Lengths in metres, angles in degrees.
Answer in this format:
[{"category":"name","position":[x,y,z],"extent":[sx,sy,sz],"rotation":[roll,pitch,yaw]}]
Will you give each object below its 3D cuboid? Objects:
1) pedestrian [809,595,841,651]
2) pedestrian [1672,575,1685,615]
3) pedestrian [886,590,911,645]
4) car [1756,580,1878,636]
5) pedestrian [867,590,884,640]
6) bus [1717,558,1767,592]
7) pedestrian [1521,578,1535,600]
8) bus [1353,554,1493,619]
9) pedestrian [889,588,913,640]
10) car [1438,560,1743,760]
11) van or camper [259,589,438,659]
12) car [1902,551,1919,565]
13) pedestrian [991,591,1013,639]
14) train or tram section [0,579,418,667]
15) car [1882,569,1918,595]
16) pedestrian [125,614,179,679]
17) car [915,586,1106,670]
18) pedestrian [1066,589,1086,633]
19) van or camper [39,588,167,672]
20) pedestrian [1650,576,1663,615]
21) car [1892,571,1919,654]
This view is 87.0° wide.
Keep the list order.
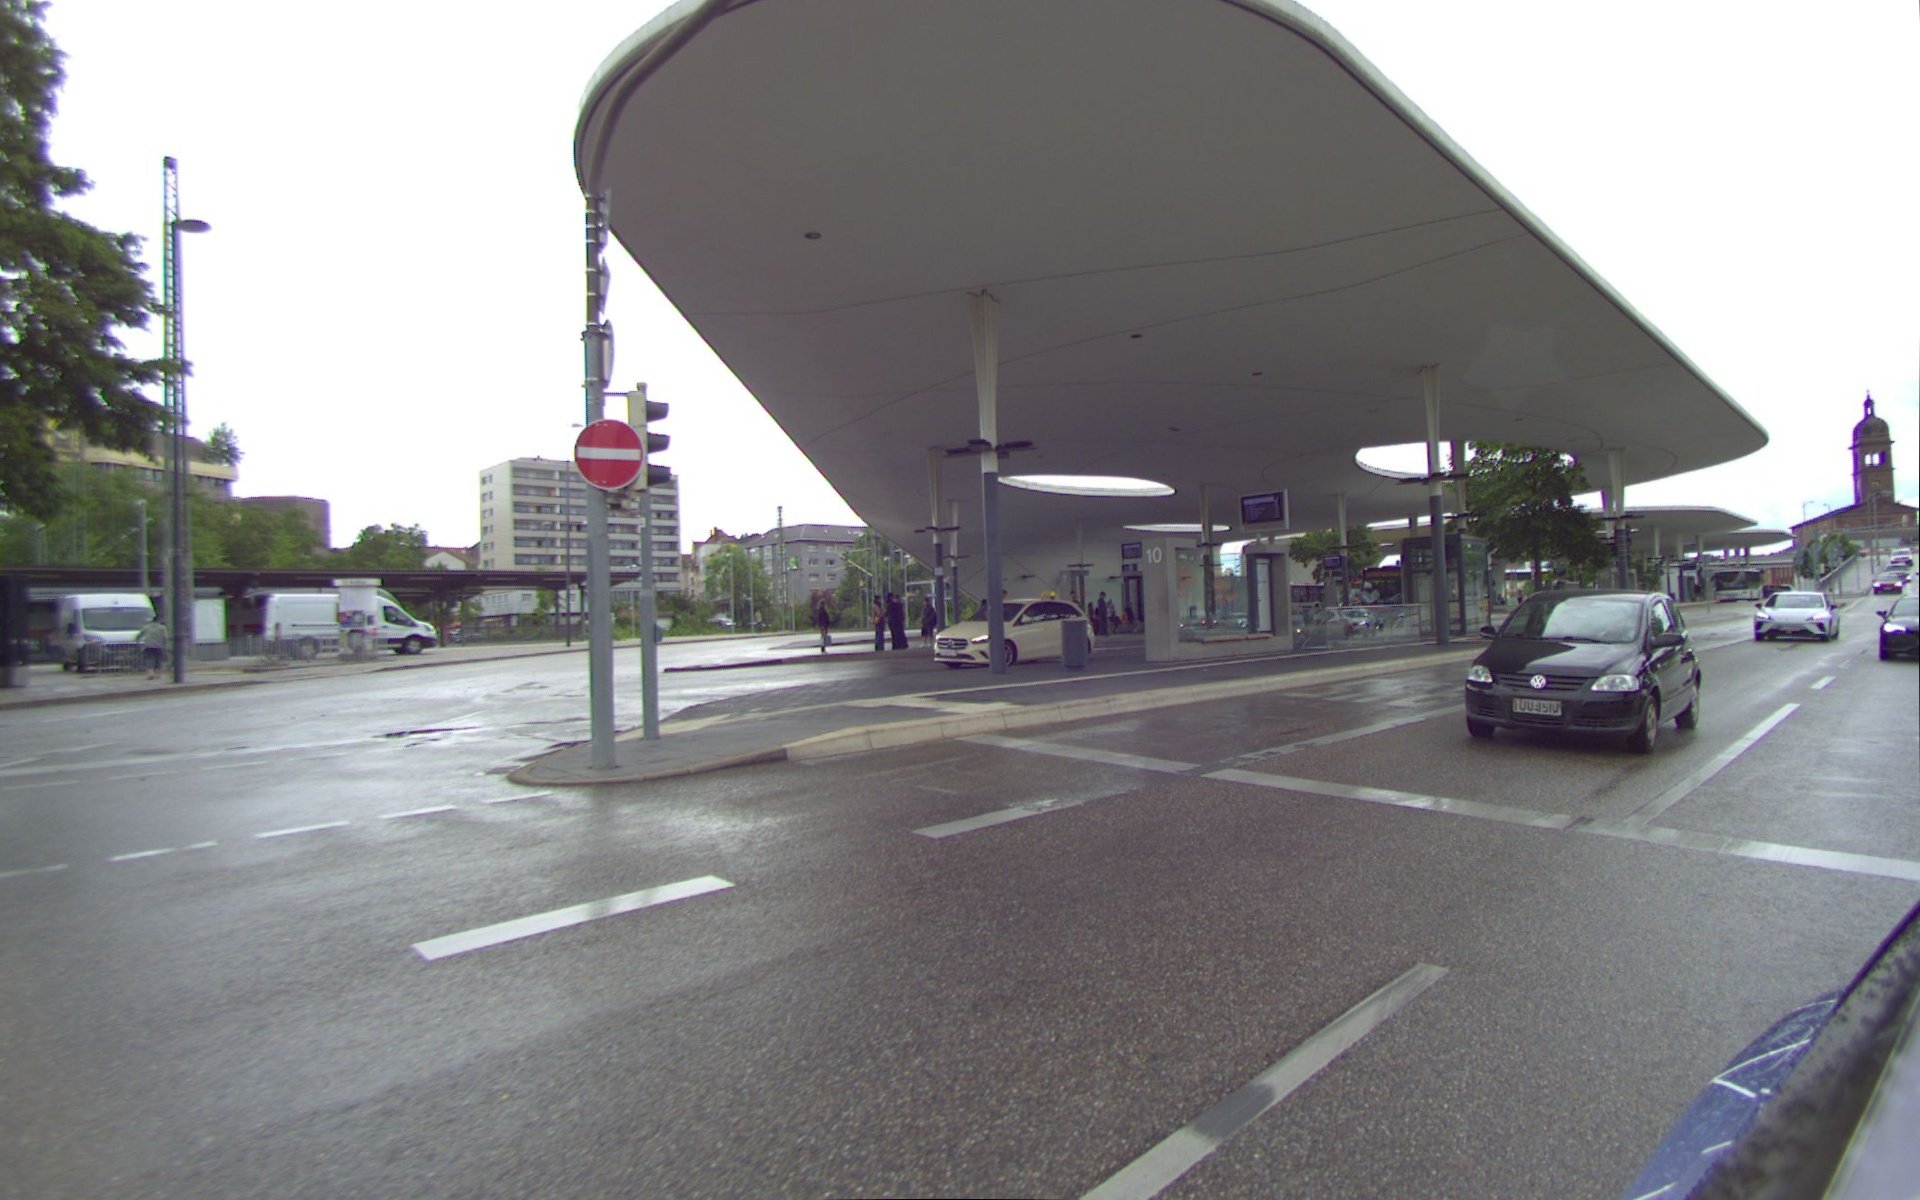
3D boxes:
[{"category":"pedestrian","position":[-3.980,0.672,29.820],"extent":[0.726,1.615,0.642],"rotation":[-1,1,-30]},{"category":"pedestrian","position":[32.363,-0.233,45.588],"extent":[0.443,1.786,0.530],"rotation":[-1,0,36]},{"category":"pedestrian","position":[-1.759,0.495,28.855],"extent":[0.470,1.533,0.534],"rotation":[-1,0,-40]},{"category":"car","position":[26.407,0.192,31.157],"extent":[3.971,1.578,1.813],"rotation":[-1,1,-33]},{"category":"pedestrian","position":[-2.636,0.472,31.619],"extent":[0.469,1.533,0.536],"rotation":[-1,0,-10]},{"category":"bus","position":[77.382,-2.444,100.298],"extent":[3.563,3.137,10.614],"rotation":[-1,0,36]},{"category":"pedestrian","position":[52.731,-1.056,93.982],"extent":[1.015,2.039,0.873],"rotation":[0,1,26]},{"category":"bus","position":[24.752,-0.753,53.624],"extent":[11.728,3.121,2.870],"rotation":[-1,1,-45]},{"category":"pedestrian","position":[-1.748,0.404,29.835],"extent":[0.470,1.533,0.534],"rotation":[-1,0,-40]},{"category":"car","position":[6.859,0.466,10.823],"extent":[4.089,1.723,1.872],"rotation":[-1,1,-44]},{"category":"van or camper","position":[-24.008,0.858,39.923],"extent":[5.769,2.464,1.994],"rotation":[-2,1,-45]},{"category":"car","position":[110.478,-4.835,117.360],"extent":[1.642,1.580,3.598],"rotation":[0,1,40]},{"category":"pedestrian","position":[1.368,0.466,32.792],"extent":[0.526,1.533,0.478],"rotation":[-1,0,-41]},{"category":"train or tram section","position":[-46.154,1.099,55.555],"extent":[4.593,4.234,28.837],"rotation":[0,1,45]},{"category":"car","position":[75.272,-1.451,81.038],"extent":[1.994,2.039,3.936],"rotation":[0,1,45]},{"category":"pedestrian","position":[-20.099,1.137,25.179],"extent":[0.628,1.549,0.836],"rotation":[0,1,16]},{"category":"car","position":[1.262,0.562,23.651],"extent":[4.468,1.702,1.994],"rotation":[-2,1,-45]},{"category":"pedestrian","position":[4.078,0.381,35.571],"extent":[0.526,1.533,0.478],"rotation":[-1,0,-41]},{"category":"van or camper","position":[-27.687,0.860,32.628],"extent":[5.835,2.464,2.135],"rotation":[0,1,40]},{"category":"pedestrian","position":[32.117,-0.220,46.650],"extent":[0.443,1.786,0.530],"rotation":[-1,0,39]},{"category":"car","position":[21.808,0.232,22.137],"extent":[4.089,1.723,1.872],"rotation":[-2,1,-44]}]
